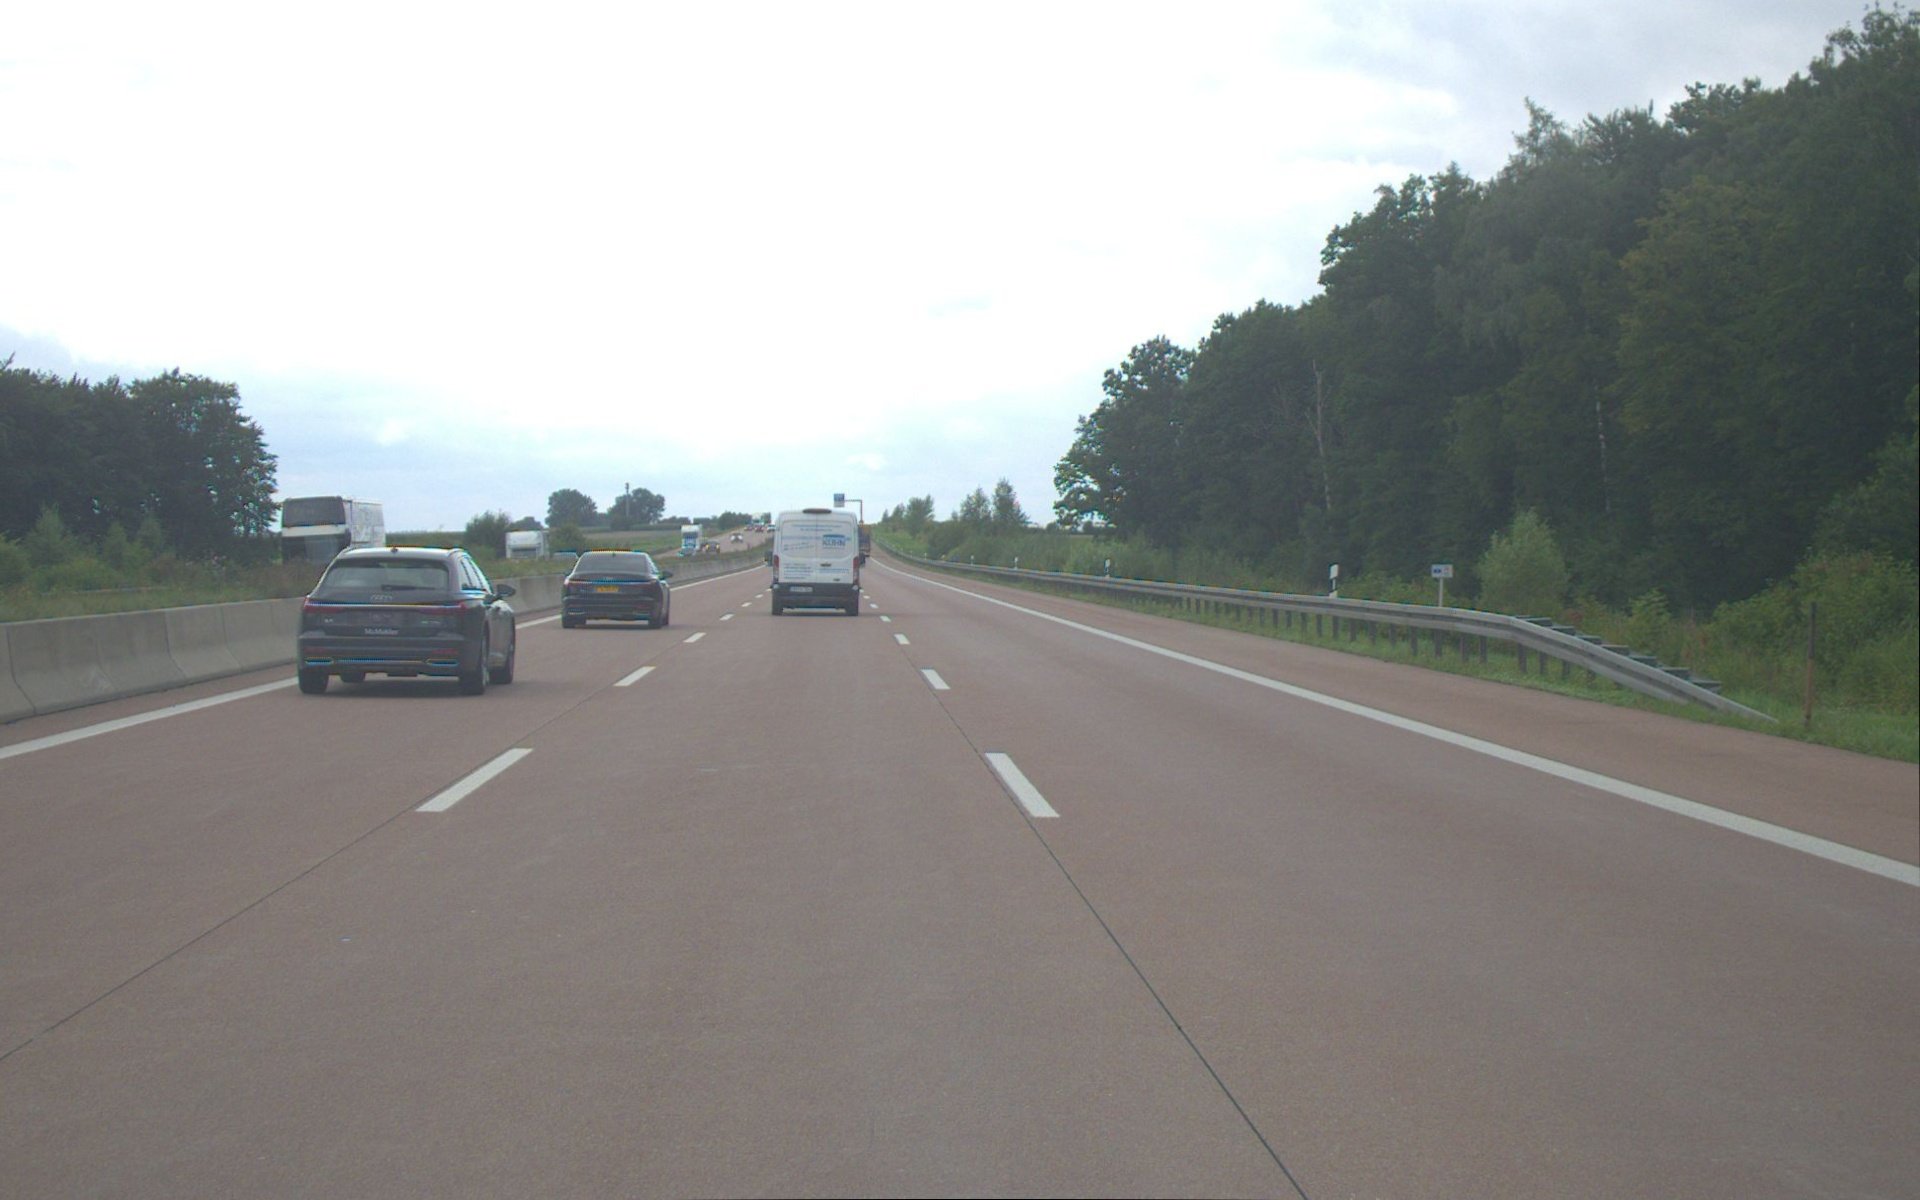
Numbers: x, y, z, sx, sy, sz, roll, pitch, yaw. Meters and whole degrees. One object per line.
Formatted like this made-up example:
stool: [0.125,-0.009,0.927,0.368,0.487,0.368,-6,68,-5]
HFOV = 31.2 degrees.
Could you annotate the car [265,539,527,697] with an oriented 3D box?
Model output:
car: [-5.811,0.128,36.064,2.059,1.486,5.454,1,1,-2]

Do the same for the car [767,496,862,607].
car: [-3.397,-1.198,81.505,2.137,2.498,7.132,0,1,-2]

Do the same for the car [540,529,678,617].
car: [-6.662,-0.545,65.793,2.085,1.545,5.674,1,1,-1]

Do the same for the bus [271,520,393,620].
bus: [-25.647,-1.290,141.167,3.048,3.875,14.364,1,1,-3]
